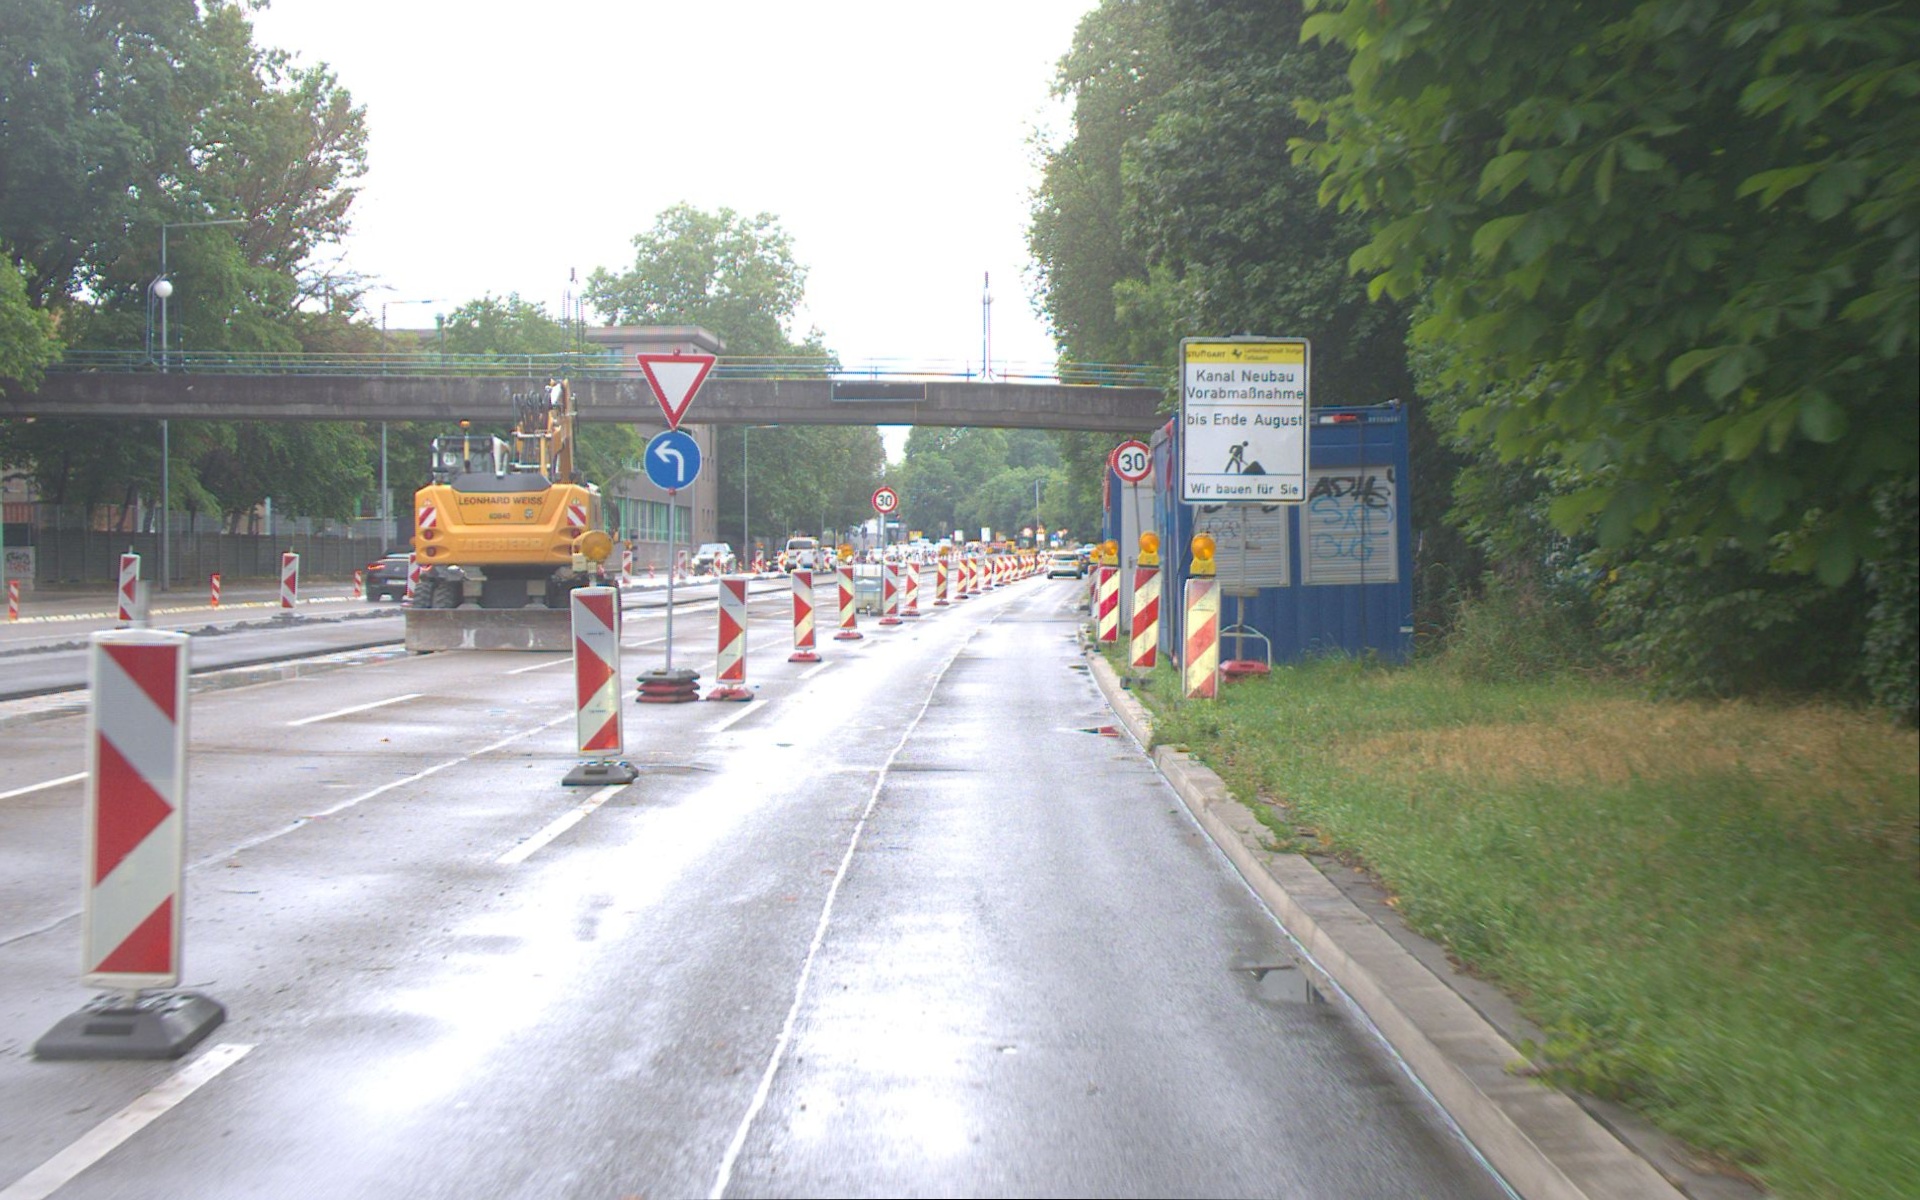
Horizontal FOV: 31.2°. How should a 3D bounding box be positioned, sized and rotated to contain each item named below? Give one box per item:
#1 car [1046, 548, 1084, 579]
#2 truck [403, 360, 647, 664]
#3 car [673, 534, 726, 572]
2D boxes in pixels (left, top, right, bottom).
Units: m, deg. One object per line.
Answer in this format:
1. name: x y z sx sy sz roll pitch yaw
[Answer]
1. car: 5.628 -1.946 183.726 1.993 1.634 4.000 0 0 2
2. truck: -6.656 -1.305 54.084 2.897 4.245 10.757 1 1 -3
3. car: -12.724 -2.289 167.990 1.971 1.800 4.607 0 0 3
